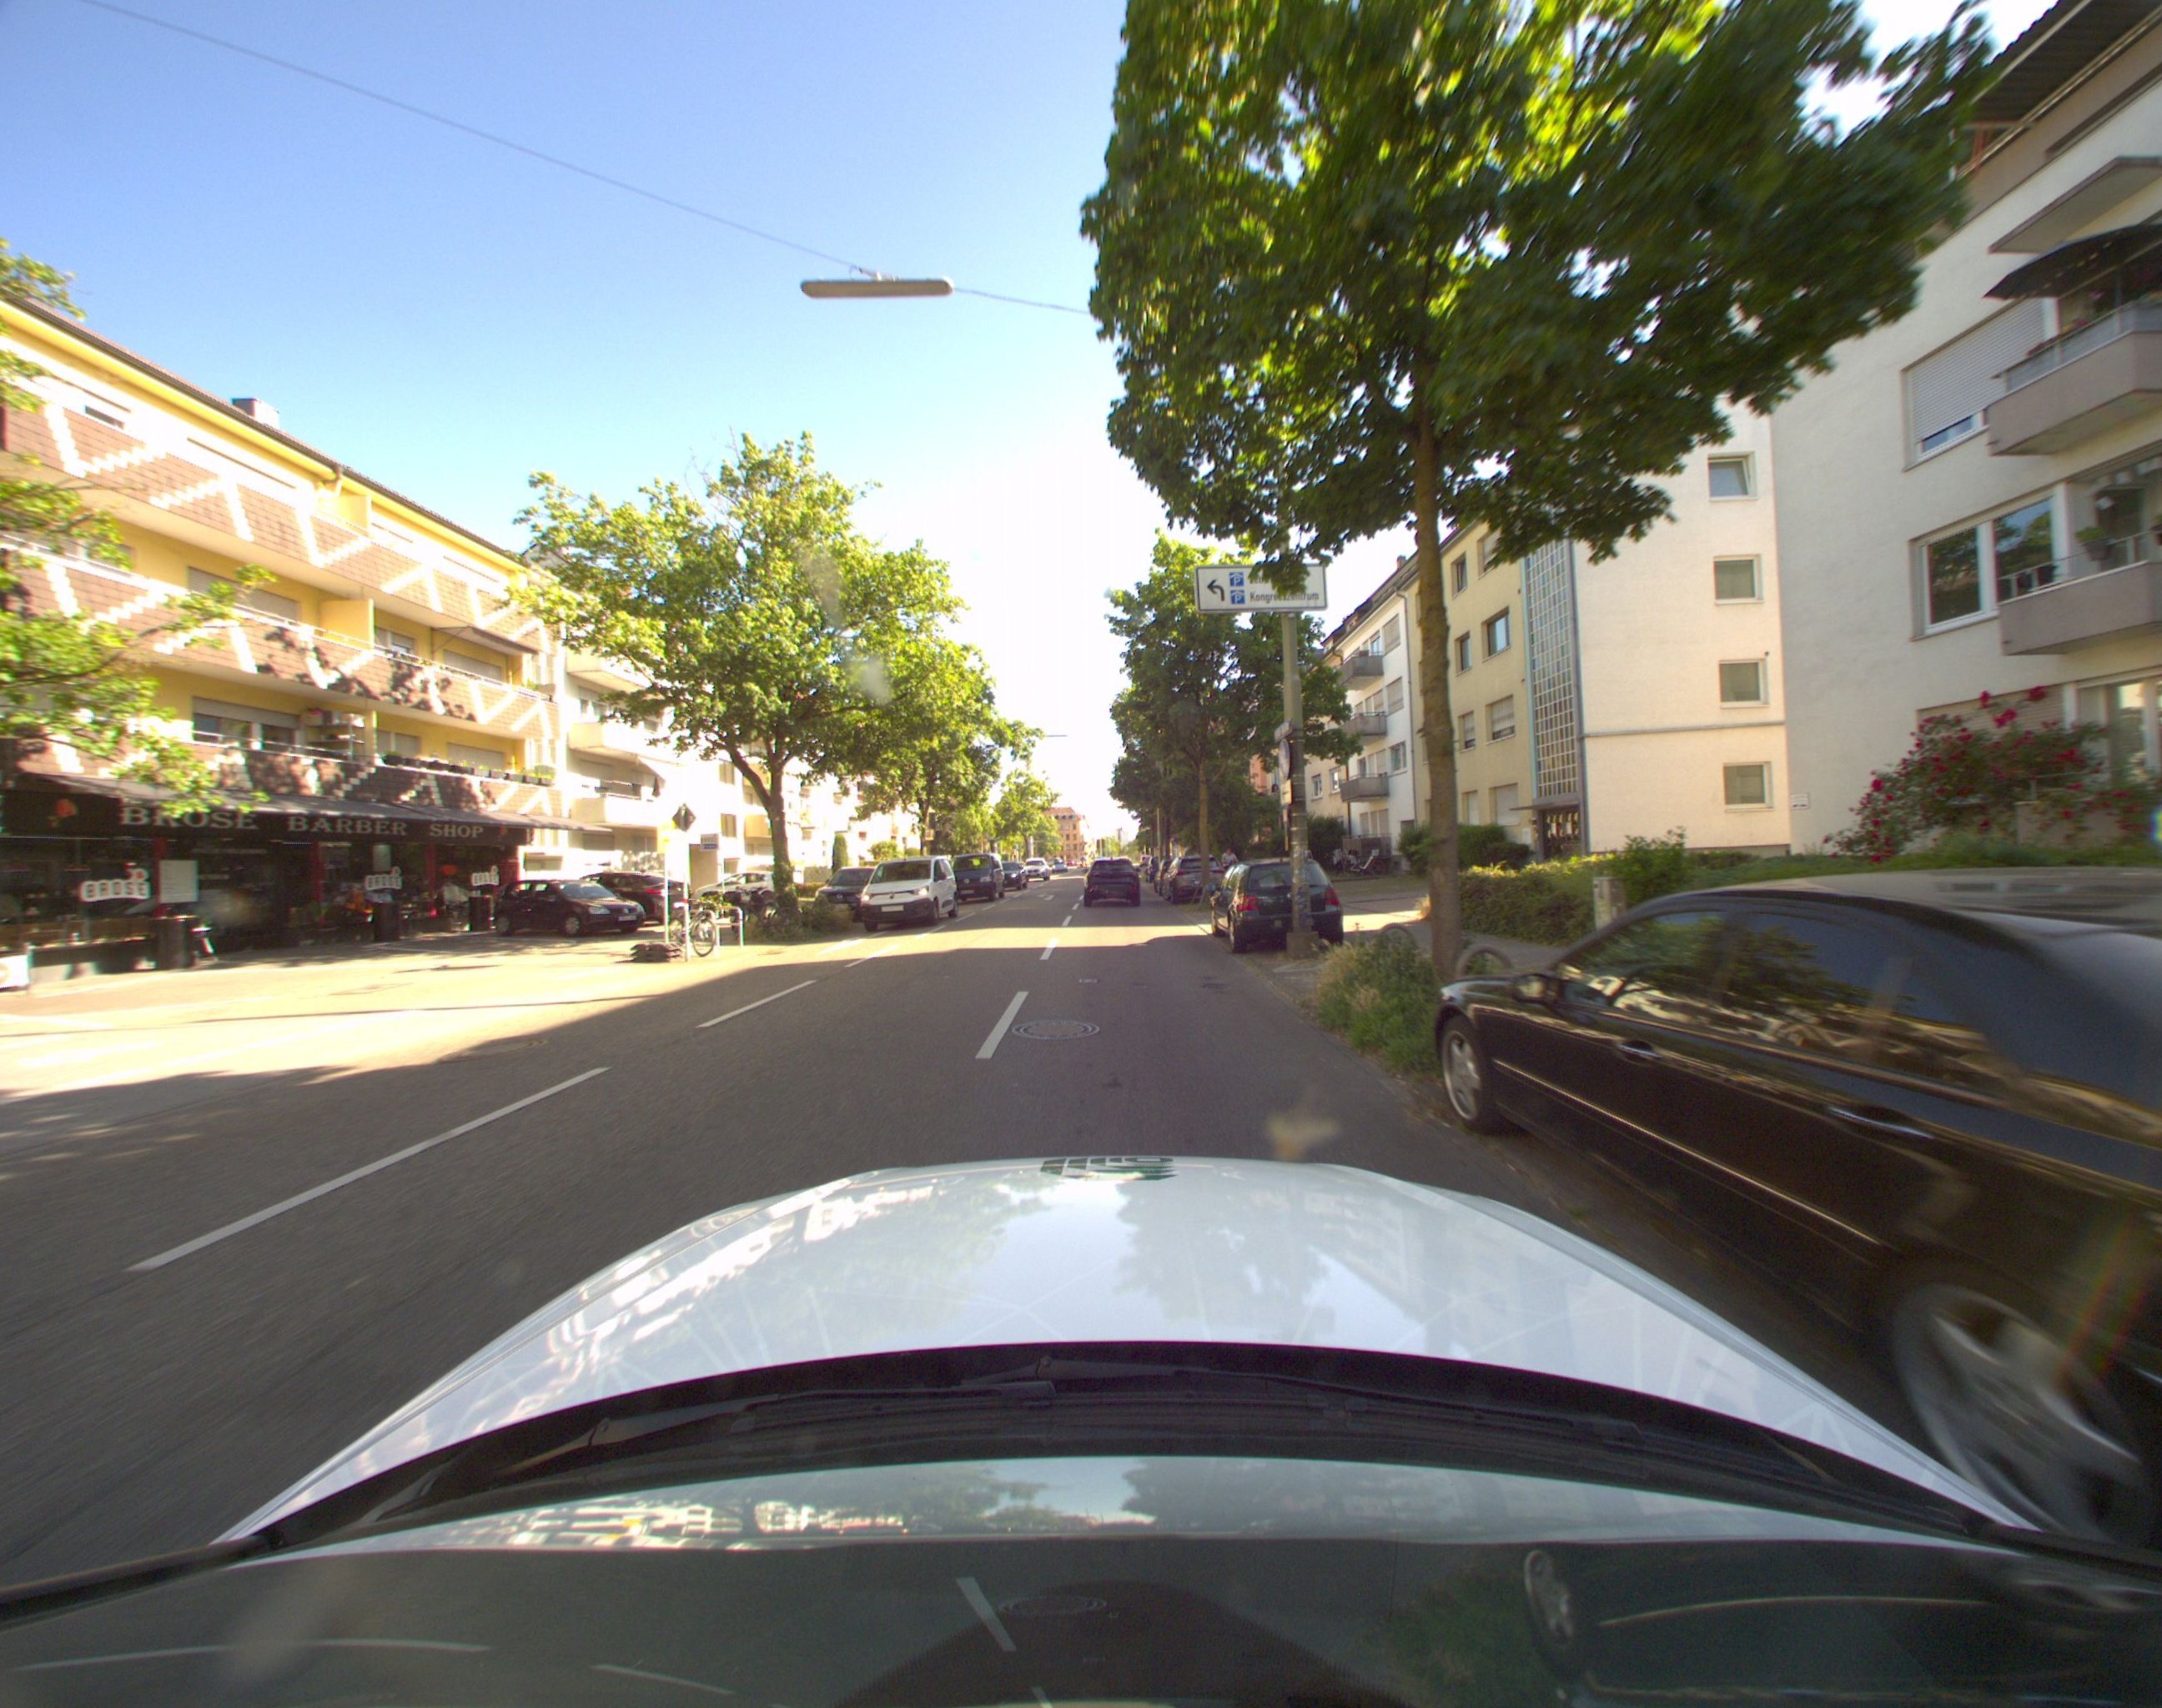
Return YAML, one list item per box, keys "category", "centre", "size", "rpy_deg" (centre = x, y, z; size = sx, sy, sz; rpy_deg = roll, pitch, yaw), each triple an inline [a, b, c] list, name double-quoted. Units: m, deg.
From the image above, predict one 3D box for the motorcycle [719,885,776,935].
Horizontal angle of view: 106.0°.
- category: "motorcycle"
  centre: [-8.357, 1.383, 20.481]
  size: [0.458, 1.125, 1.722]
  rpy_deg: [-1, 0, 10]

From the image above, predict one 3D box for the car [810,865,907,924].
- category: "car"
  centre: [-6.786, 1.186, 25.291]
  size: [1.715, 1.596, 4.137]
  rpy_deg: [-1, 0, 2]

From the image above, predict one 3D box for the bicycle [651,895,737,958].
- category: "bicycle"
  centre: [-7.561, 1.389, 15.891]
  size: [1.912, 1.135, 0.465]
  rpy_deg: [-1, 0, 29]

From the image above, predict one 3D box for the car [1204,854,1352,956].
- category: "car"
  centre: [3.210, 0.763, 14.038]
  size: [1.685, 1.428, 4.150]
  rpy_deg: [-3, 0, 3]

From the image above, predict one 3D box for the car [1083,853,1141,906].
- category: "car"
  centre: [1.003, 0.786, 26.649]
  size: [1.739, 1.574, 3.559]
  rpy_deg: [-1, 0, 2]

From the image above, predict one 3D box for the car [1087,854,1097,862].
- category: "car"
  centre: [2.205, 0.693, 156.930]
  size: [1.765, 1.452, 3.887]
  rpy_deg: [-2, 0, 2]

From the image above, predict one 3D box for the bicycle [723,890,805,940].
- category: "bicycle"
  centre: [-7.289, 1.389, 18.709]
  size: [2.005, 1.091, 0.465]
  rpy_deg: [-1, 0, 24]

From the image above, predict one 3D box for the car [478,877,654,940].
- category: "car"
  centre: [-13.359, 1.395, 21.150]
  size: [3.954, 1.456, 1.742]
  rpy_deg: [-1, 0, 19]

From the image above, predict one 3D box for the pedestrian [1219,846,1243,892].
- category: "pedestrian"
  centre: [5.644, 0.576, 30.671]
  size: [0.667, 1.682, 0.776]
  rpy_deg: [-3, -1, 1]

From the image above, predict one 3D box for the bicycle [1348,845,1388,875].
- category: "bicycle"
  centre: [12.834, 0.275, 36.419]
  size: [1.520, 1.222, 0.466]
  rpy_deg: [-5, -1, 32]

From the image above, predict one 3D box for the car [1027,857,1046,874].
- category: "car"
  centre: [-5.069, 1.290, 93.292]
  size: [1.813, 1.834, 4.561]
  rpy_deg: [-2, 0, 0]

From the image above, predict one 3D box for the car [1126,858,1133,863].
- category: "car"
  centre: [14.511, 1.948, 241.751]
  size: [1.985, 1.519, 4.003]
  rpy_deg: [0, -1, 3]

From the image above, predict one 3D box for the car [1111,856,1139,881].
- category: "car"
  centre: [3.032, 0.968, 56.620]
  size: [1.823, 1.578, 3.841]
  rpy_deg: [-3, 0, 2]

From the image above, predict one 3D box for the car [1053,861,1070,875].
- category: "car"
  centre: [-2.212, 1.589, 92.748]
  size: [1.731, 1.381, 3.937]
  rpy_deg: [-4, 0, 1]

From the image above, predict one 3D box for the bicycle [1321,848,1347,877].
- category: "bicycle"
  centre: [11.942, 0.374, 38.433]
  size: [0.620, 1.287, 1.843]
  rpy_deg: [-5, 0, 2]

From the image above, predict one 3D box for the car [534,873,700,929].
- category: "car"
  centre: [-13.499, 1.364, 23.804]
  size: [3.962, 1.461, 1.738]
  rpy_deg: [-1, 0, 10]

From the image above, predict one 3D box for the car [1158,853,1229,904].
- category: "car"
  centre: [3.632, 0.758, 26.949]
  size: [1.708, 1.489, 4.234]
  rpy_deg: [-3, 0, 0]

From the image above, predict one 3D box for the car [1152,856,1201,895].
- category: "car"
  centre: [3.781, 0.824, 32.654]
  size: [1.605, 1.383, 3.978]
  rpy_deg: [-3, 0, 2]

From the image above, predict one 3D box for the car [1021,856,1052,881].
- category: "car"
  centre: [-3.277, 1.082, 60.881]
  size: [1.800, 1.648, 4.673]
  rpy_deg: [-5, 0, 1]

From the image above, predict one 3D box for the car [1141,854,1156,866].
- category: "car"
  centre: [8.800, 0.774, 106.702]
  size: [1.823, 1.452, 3.990]
  rpy_deg: [-2, 0, 2]

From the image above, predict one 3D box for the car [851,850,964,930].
- category: "car"
  centre: [-4.434, 0.870, 21.544]
  size: [1.809, 1.743, 4.494]
  rpy_deg: [-5, 0, 1]

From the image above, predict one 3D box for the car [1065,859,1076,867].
- category: "car"
  centre: [-2.046, 1.777, 160.631]
  size: [1.784, 1.617, 4.002]
  rpy_deg: [-2, 0, 2]

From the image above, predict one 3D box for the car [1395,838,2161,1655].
- category: "car"
  centre: [2.761, 0.700, 2.997]
  size: [1.580, 1.396, 4.456]
  rpy_deg: [-4, 0, 2]

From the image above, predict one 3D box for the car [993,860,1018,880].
- category: "car"
  centre: [-5.796, 1.206, 62.836]
  size: [1.671, 1.525, 3.656]
  rpy_deg: [0, 0, -2]

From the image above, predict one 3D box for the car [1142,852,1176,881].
- category: "car"
  centre: [4.574, 0.735, 47.980]
  size: [1.554, 1.515, 3.654]
  rpy_deg: [-4, 0, 0]

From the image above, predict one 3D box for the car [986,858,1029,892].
- category: "car"
  centre: [-3.898, 1.079, 43.932]
  size: [1.713, 1.566, 4.344]
  rpy_deg: [-5, 0, 1]

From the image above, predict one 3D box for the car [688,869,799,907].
- category: "car"
  centre: [-14.585, 1.448, 35.335]
  size: [3.973, 1.486, 1.881]
  rpy_deg: [-1, 0, 1]

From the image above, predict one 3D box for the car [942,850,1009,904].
- category: "car"
  centre: [-4.176, 0.873, 32.976]
  size: [1.796, 1.911, 4.713]
  rpy_deg: [-5, 0, 2]

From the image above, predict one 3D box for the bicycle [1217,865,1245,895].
- category: "bicycle"
  centre: [5.665, 0.967, 30.769]
  size: [0.679, 1.070, 2.128]
  rpy_deg: [-3, 0, 2]

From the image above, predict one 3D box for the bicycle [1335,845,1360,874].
- category: "bicycle"
  centre: [12.563, 0.274, 38.432]
  size: [0.589, 1.287, 1.690]
  rpy_deg: [-5, 0, 2]
